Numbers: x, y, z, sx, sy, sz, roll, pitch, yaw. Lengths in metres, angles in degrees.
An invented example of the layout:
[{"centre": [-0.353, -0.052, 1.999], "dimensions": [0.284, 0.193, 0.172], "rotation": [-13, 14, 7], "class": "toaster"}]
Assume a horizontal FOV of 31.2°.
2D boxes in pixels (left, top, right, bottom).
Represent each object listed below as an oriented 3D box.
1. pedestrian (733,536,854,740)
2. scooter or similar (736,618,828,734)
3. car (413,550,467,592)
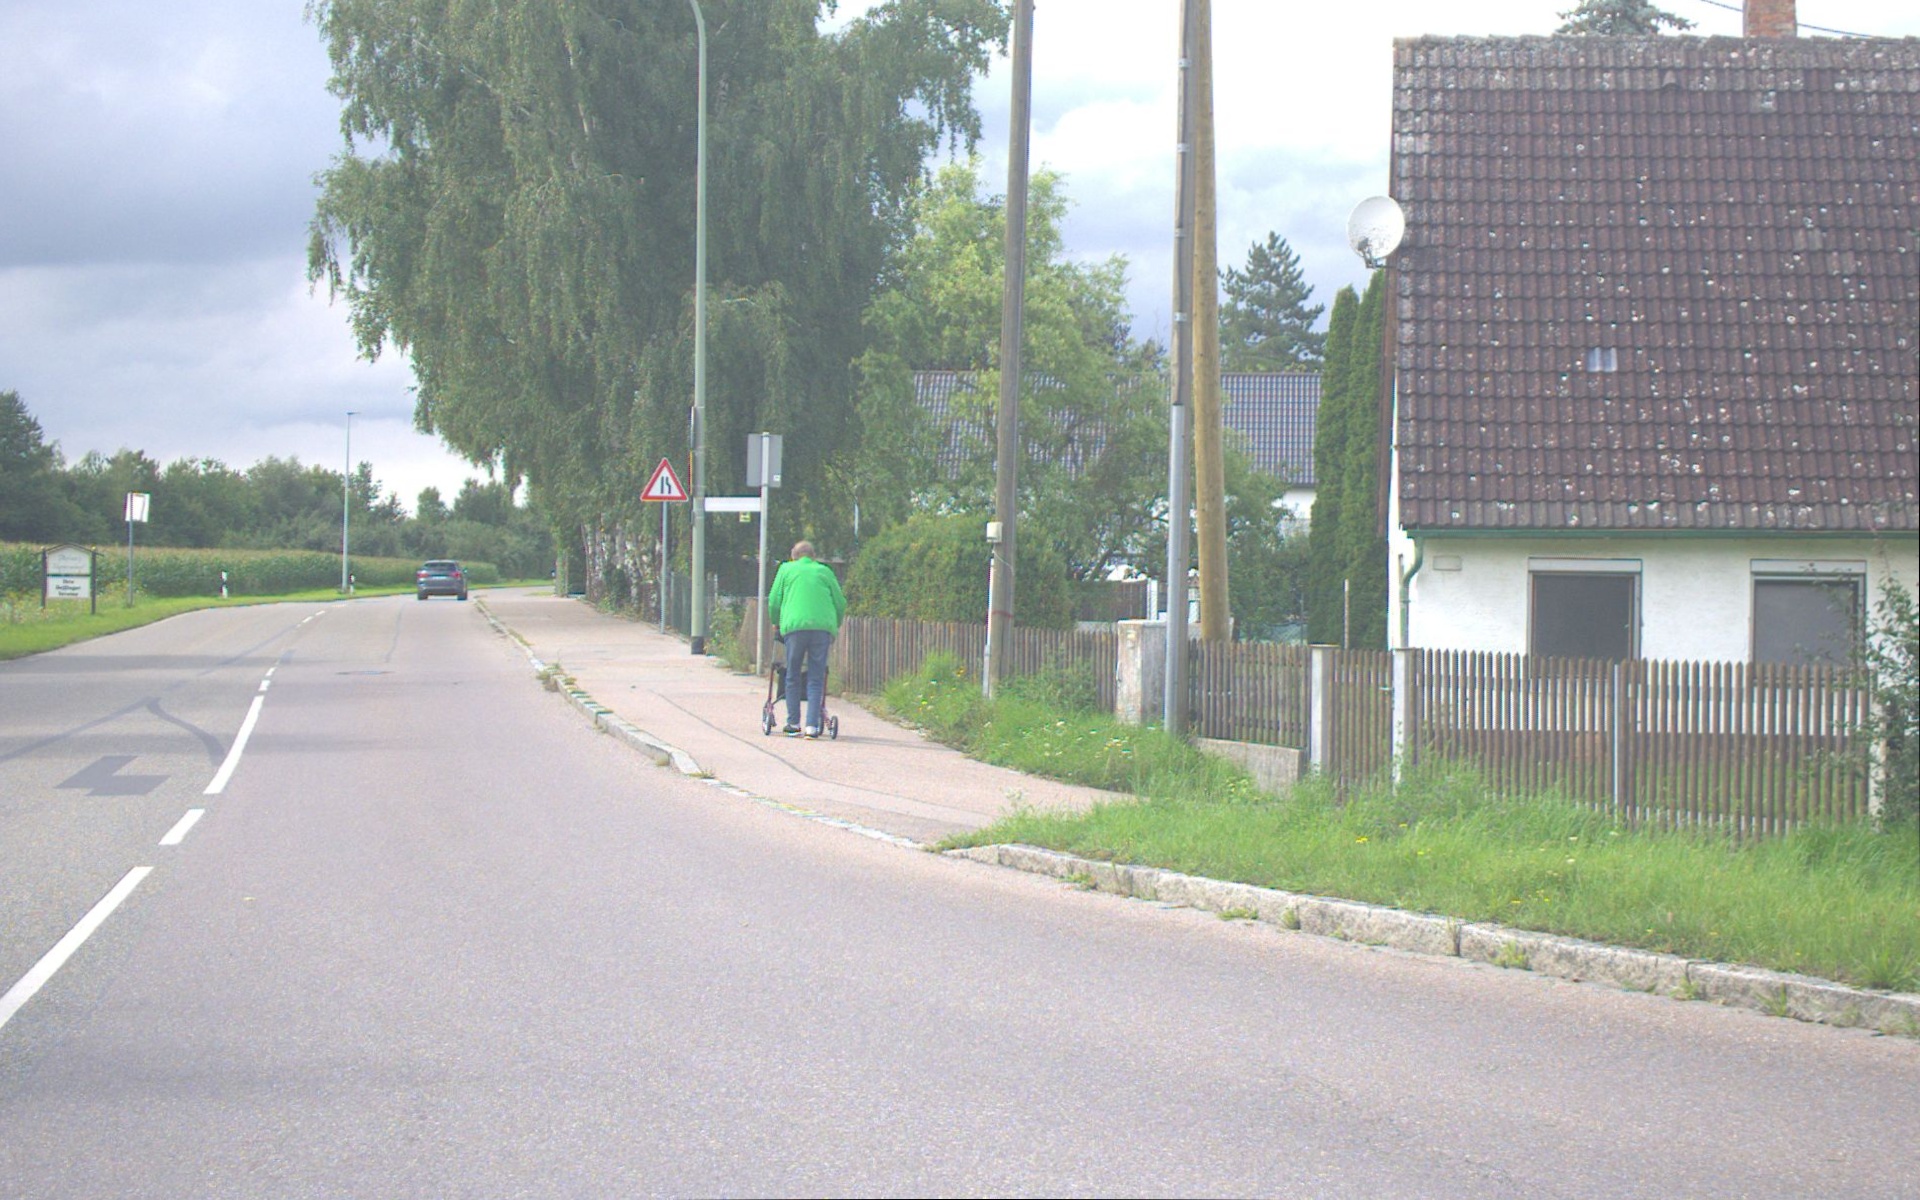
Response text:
[{"centre": [-1.425, 0.320, 29.336], "dimensions": [0.788, 1.659, 0.712], "rotation": [5, 0, -12], "class": "pedestrian"}, {"centre": [-1.558, 0.660, 30.029], "dimensions": [0.630, 0.945, 0.622], "rotation": [5, 0, -12], "class": "scooter or similar"}, {"centre": [-20.695, -1.164, 136.673], "dimensions": [1.993, 1.546, 4.001], "rotation": [1, 1, -10], "class": "car"}]
